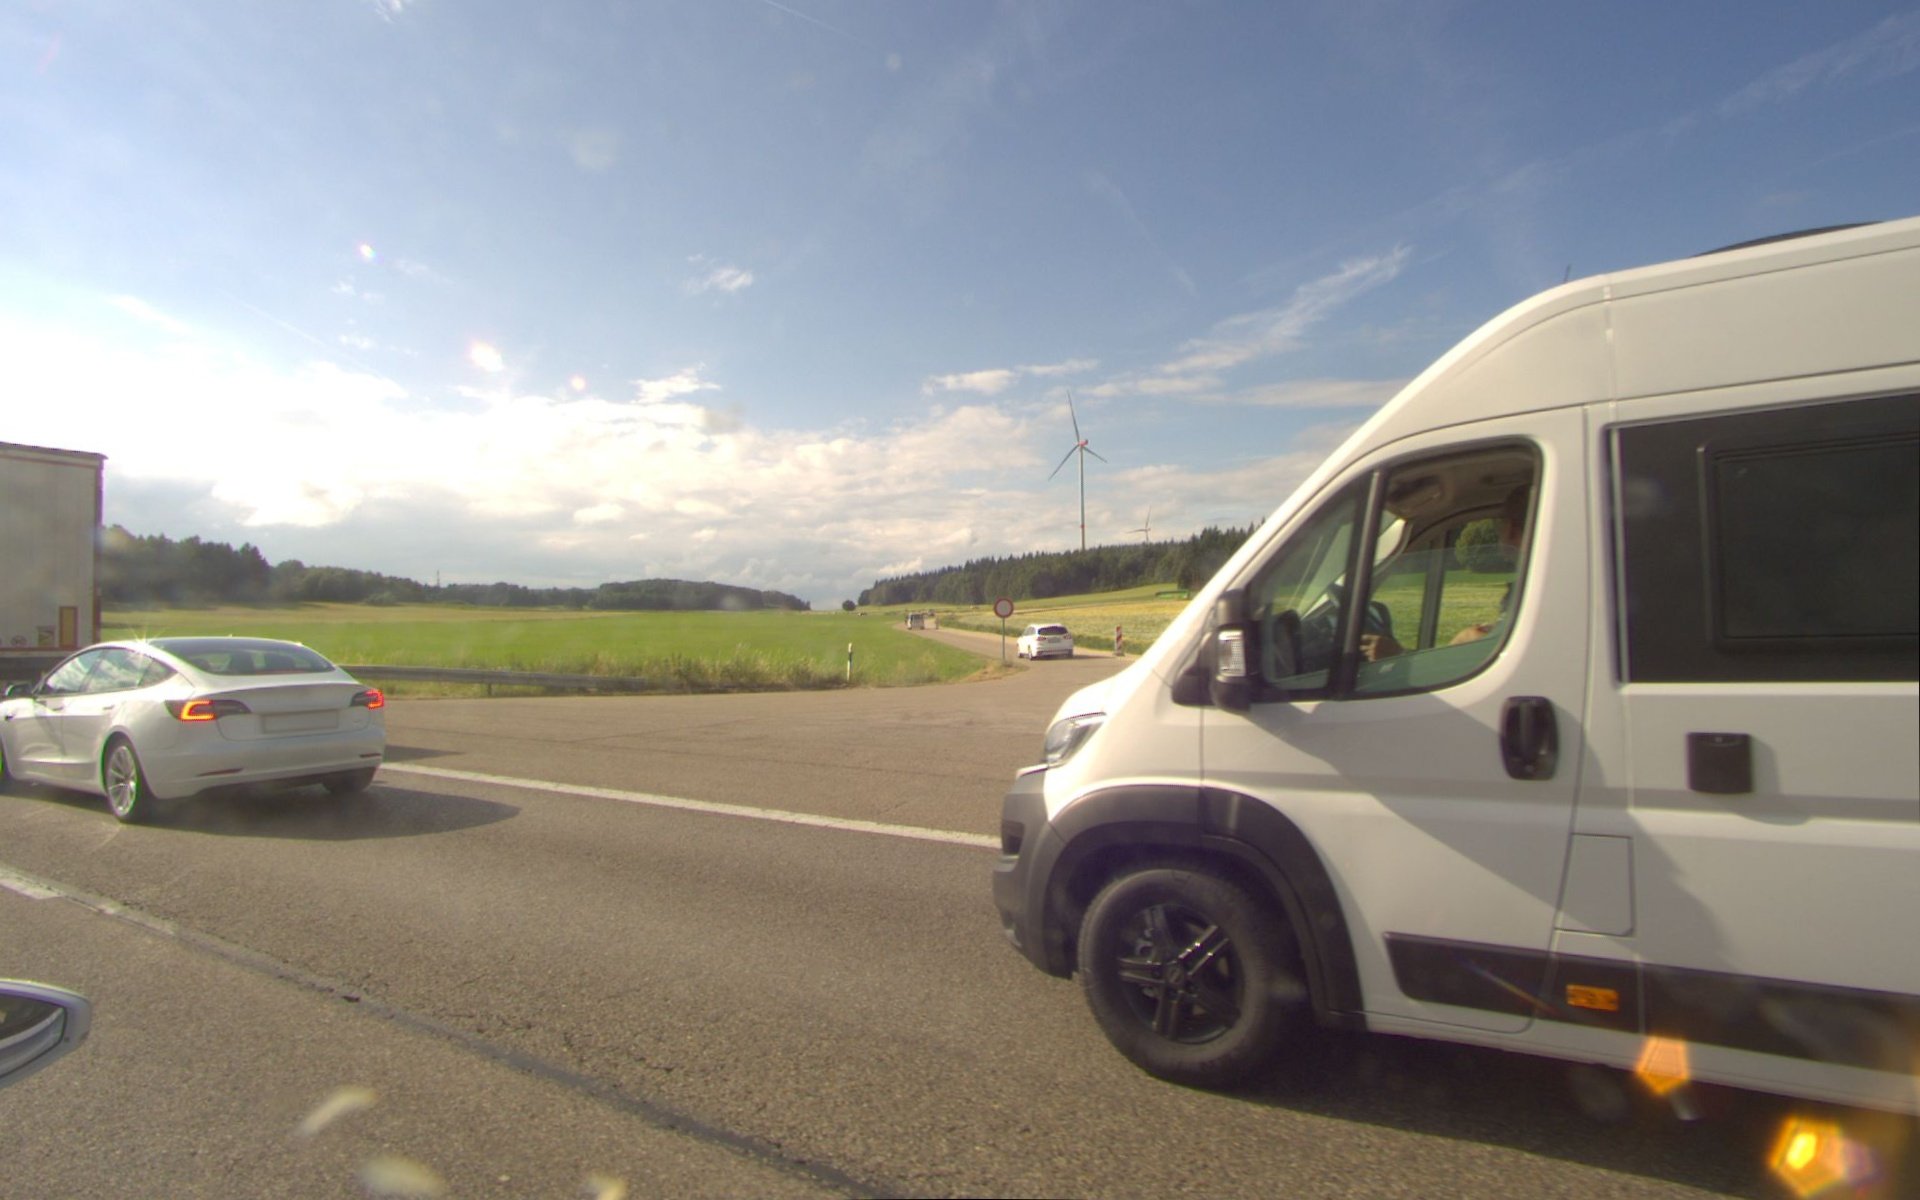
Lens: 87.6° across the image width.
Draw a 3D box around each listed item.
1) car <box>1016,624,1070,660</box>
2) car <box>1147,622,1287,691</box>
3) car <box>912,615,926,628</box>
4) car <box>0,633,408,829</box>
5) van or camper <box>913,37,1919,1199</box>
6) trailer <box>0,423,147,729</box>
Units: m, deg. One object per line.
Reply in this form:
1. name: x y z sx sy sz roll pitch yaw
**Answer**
1. car: 3.493 1.754 42.702 1.676 1.450 4.233 -1 -1 -4
2. car: 5.942 1.275 23.721 1.676 1.450 4.231 -1 -1 -9
3. car: -5.083 2.661 123.474 1.676 1.450 4.233 -1 -1 -4
4. car: -7.200 1.019 9.198 4.371 1.412 1.786 -1 -1 31
5. van or camper: 3.062 0.134 2.883 6.242 2.716 2.211 -1 -1 32
6. trailer: -18.209 -0.076 16.897 13.182 4.061 3.124 -2 -2 33
